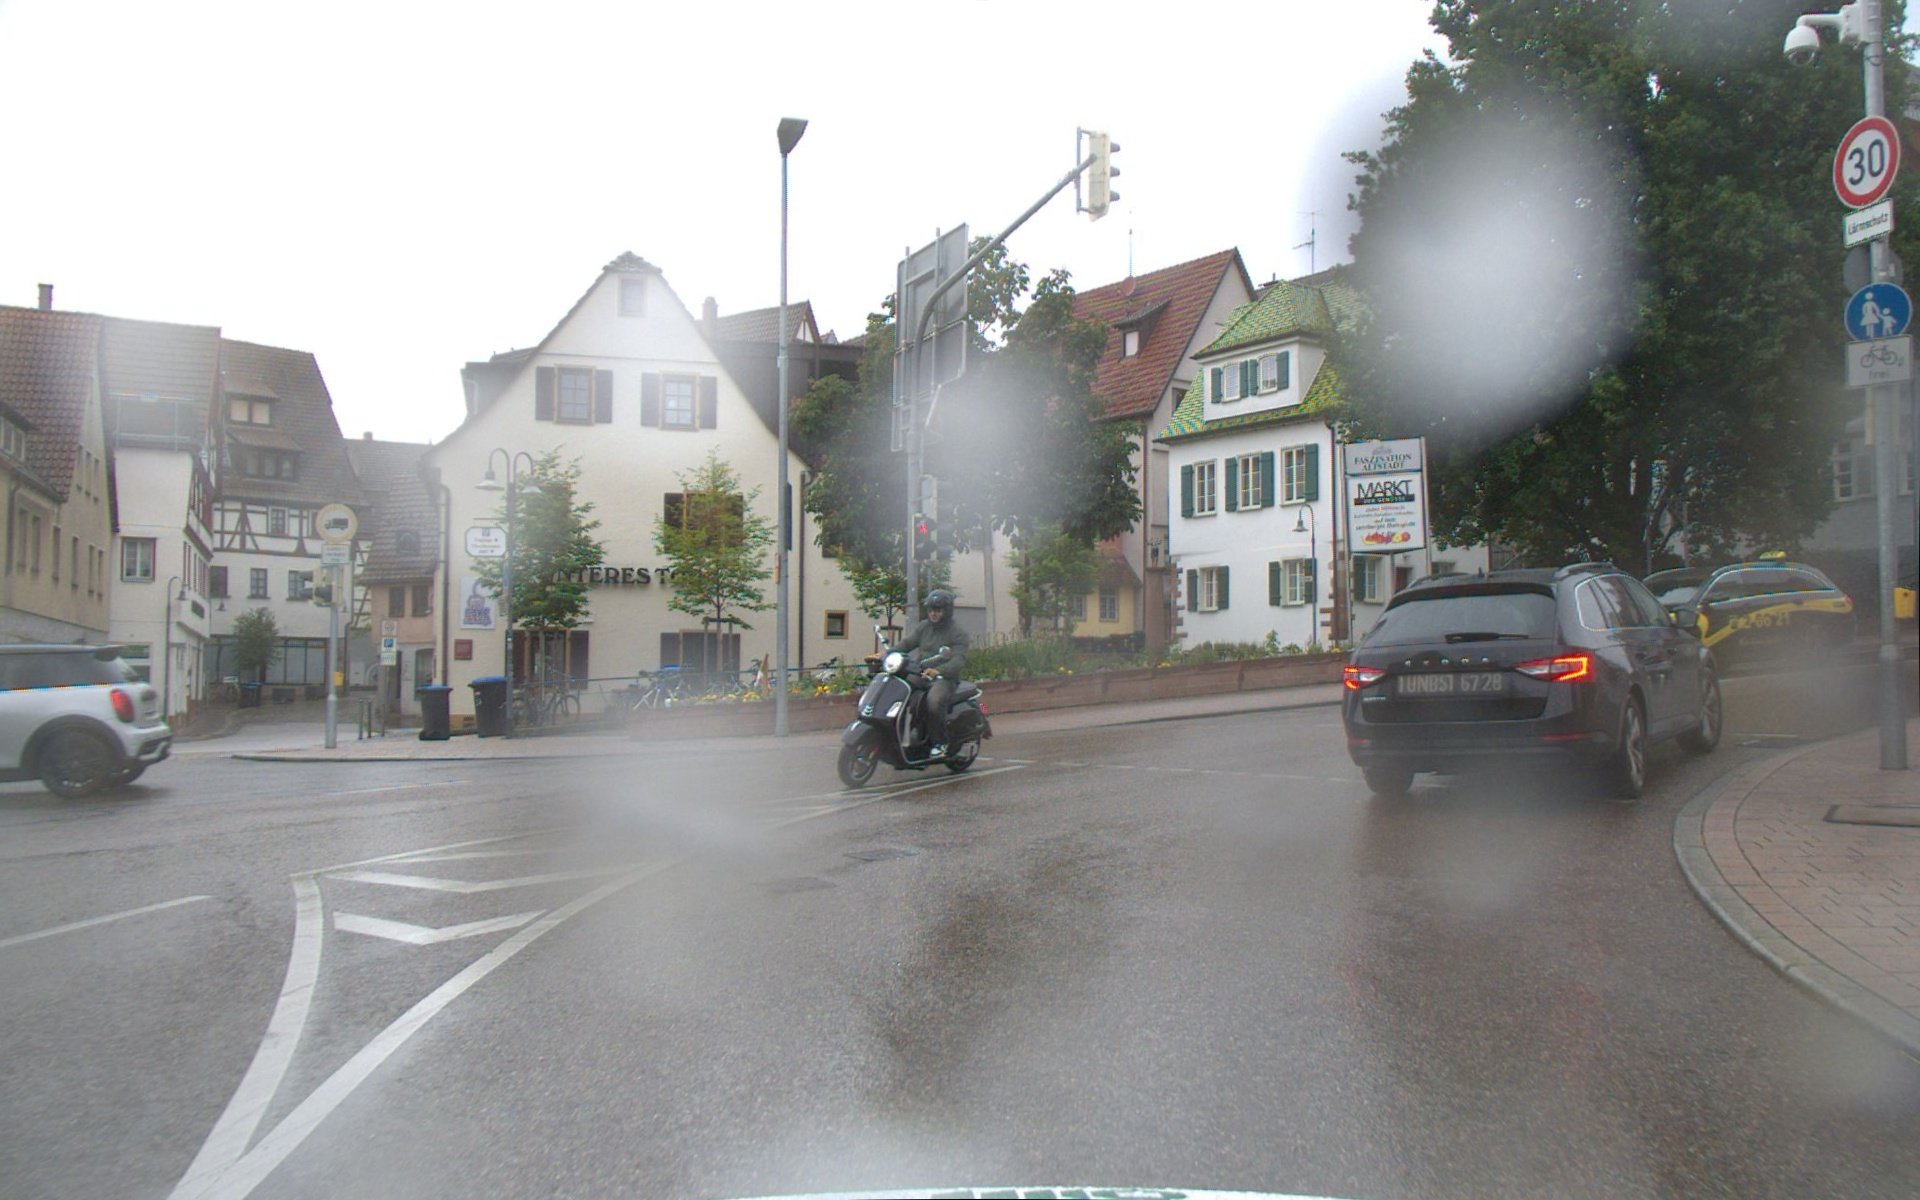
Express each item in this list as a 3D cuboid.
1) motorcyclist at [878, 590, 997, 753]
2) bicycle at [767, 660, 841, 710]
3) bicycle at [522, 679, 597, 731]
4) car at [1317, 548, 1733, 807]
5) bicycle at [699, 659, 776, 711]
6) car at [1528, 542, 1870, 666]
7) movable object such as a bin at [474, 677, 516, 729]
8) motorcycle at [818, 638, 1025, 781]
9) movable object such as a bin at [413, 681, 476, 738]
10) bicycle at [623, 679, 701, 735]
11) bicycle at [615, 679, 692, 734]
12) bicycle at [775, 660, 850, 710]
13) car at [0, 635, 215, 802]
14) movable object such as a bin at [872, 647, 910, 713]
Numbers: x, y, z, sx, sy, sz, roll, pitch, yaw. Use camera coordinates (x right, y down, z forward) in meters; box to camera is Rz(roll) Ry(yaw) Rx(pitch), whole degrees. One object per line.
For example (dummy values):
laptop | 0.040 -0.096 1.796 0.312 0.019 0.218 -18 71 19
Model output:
motorcyclist | -0.197 0.616 14.551 0.796 1.378 0.665 -1 -2 39
bicycle | -3.074 1.672 32.624 1.453 0.928 0.388 0 0 -35
bicycle | -7.066 1.846 29.216 0.331 0.833 1.432 1 0 34
car | 4.192 0.388 11.776 1.853 1.473 4.346 0 1 32
bicycle | -4.248 1.618 31.655 1.453 0.928 0.388 0 0 -35
car | 10.117 0.063 22.637 4.344 1.565 1.984 0 -1 -26
movable object such as a bin | -8.438 1.867 30.011 0.581 0.917 0.577 1 -2 -33
motorcycle | -0.304 0.919 14.402 0.756 1.151 1.907 -3 -3 38
movable object such as a bin | -8.884 1.885 28.520 0.708 0.943 0.788 -3 -4 20
bicycle | -5.412 1.929 30.078 0.386 0.928 1.461 1 0 42
bicycle | -5.653 1.958 30.514 0.386 0.928 1.461 1 0 42
bicycle | -2.869 1.648 32.257 1.453 0.928 0.388 0 0 -35
car | -9.333 1.082 15.551 3.920 1.456 1.992 0 -1 -15
movable object such as a bin | -1.410 1.615 33.593 0.670 1.299 0.747 1 -2 -9
